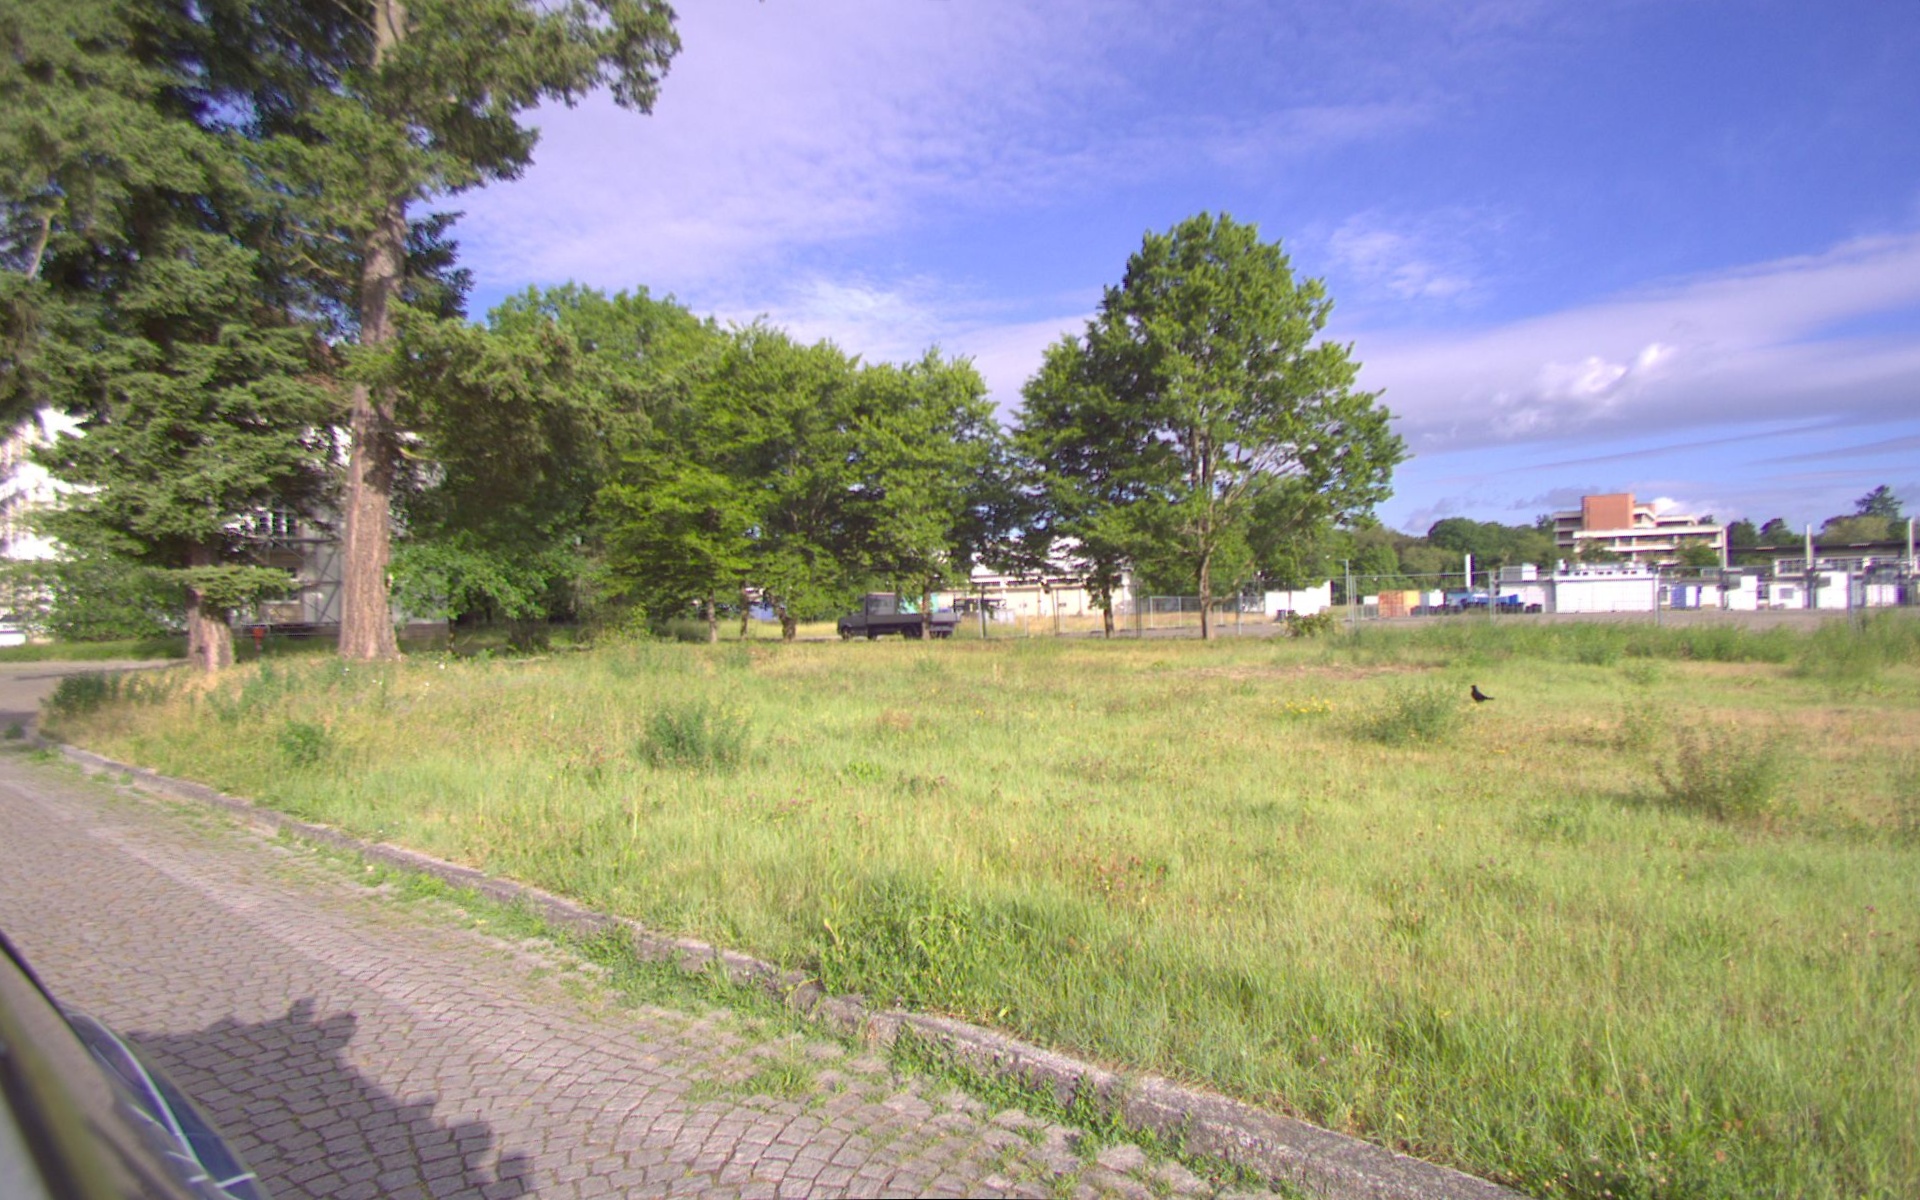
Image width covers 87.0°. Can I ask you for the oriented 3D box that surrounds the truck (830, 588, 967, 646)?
[{"bbox_3d":[-3.073,0.857,48.921,6.955,2.606,2.386,-2,-1,41],"label":"truck"}]
